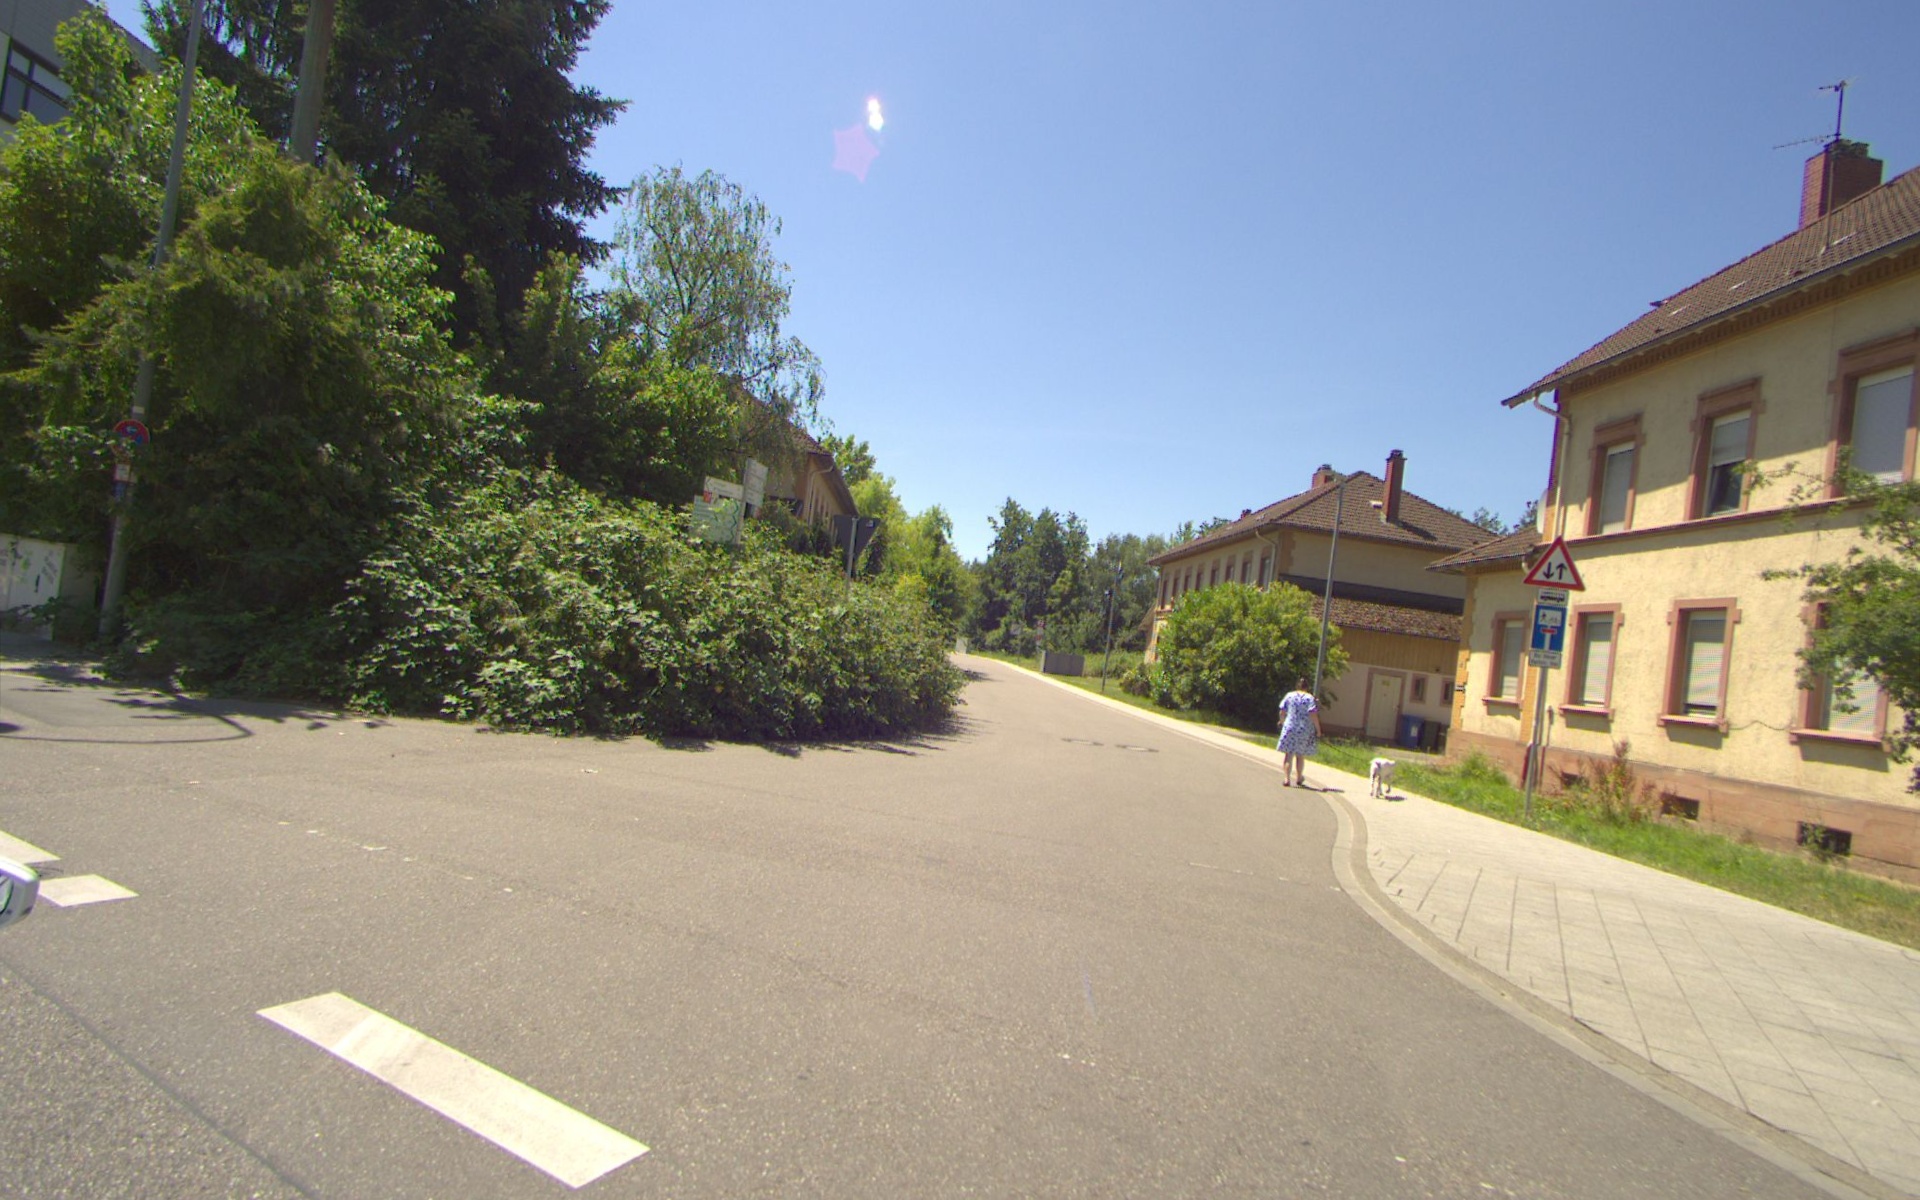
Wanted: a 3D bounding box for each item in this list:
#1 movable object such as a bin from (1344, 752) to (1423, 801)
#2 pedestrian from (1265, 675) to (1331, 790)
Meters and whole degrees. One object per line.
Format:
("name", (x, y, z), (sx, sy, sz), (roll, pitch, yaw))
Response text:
("movable object such as a bin", (6.333, 2.637, 15.020), (1.233, 0.601, 0.512), (9, -2, -38))
("pedestrian", (5.240, 2.042, 15.572), (0.689, 1.646, 0.616), (6, -2, 31))
